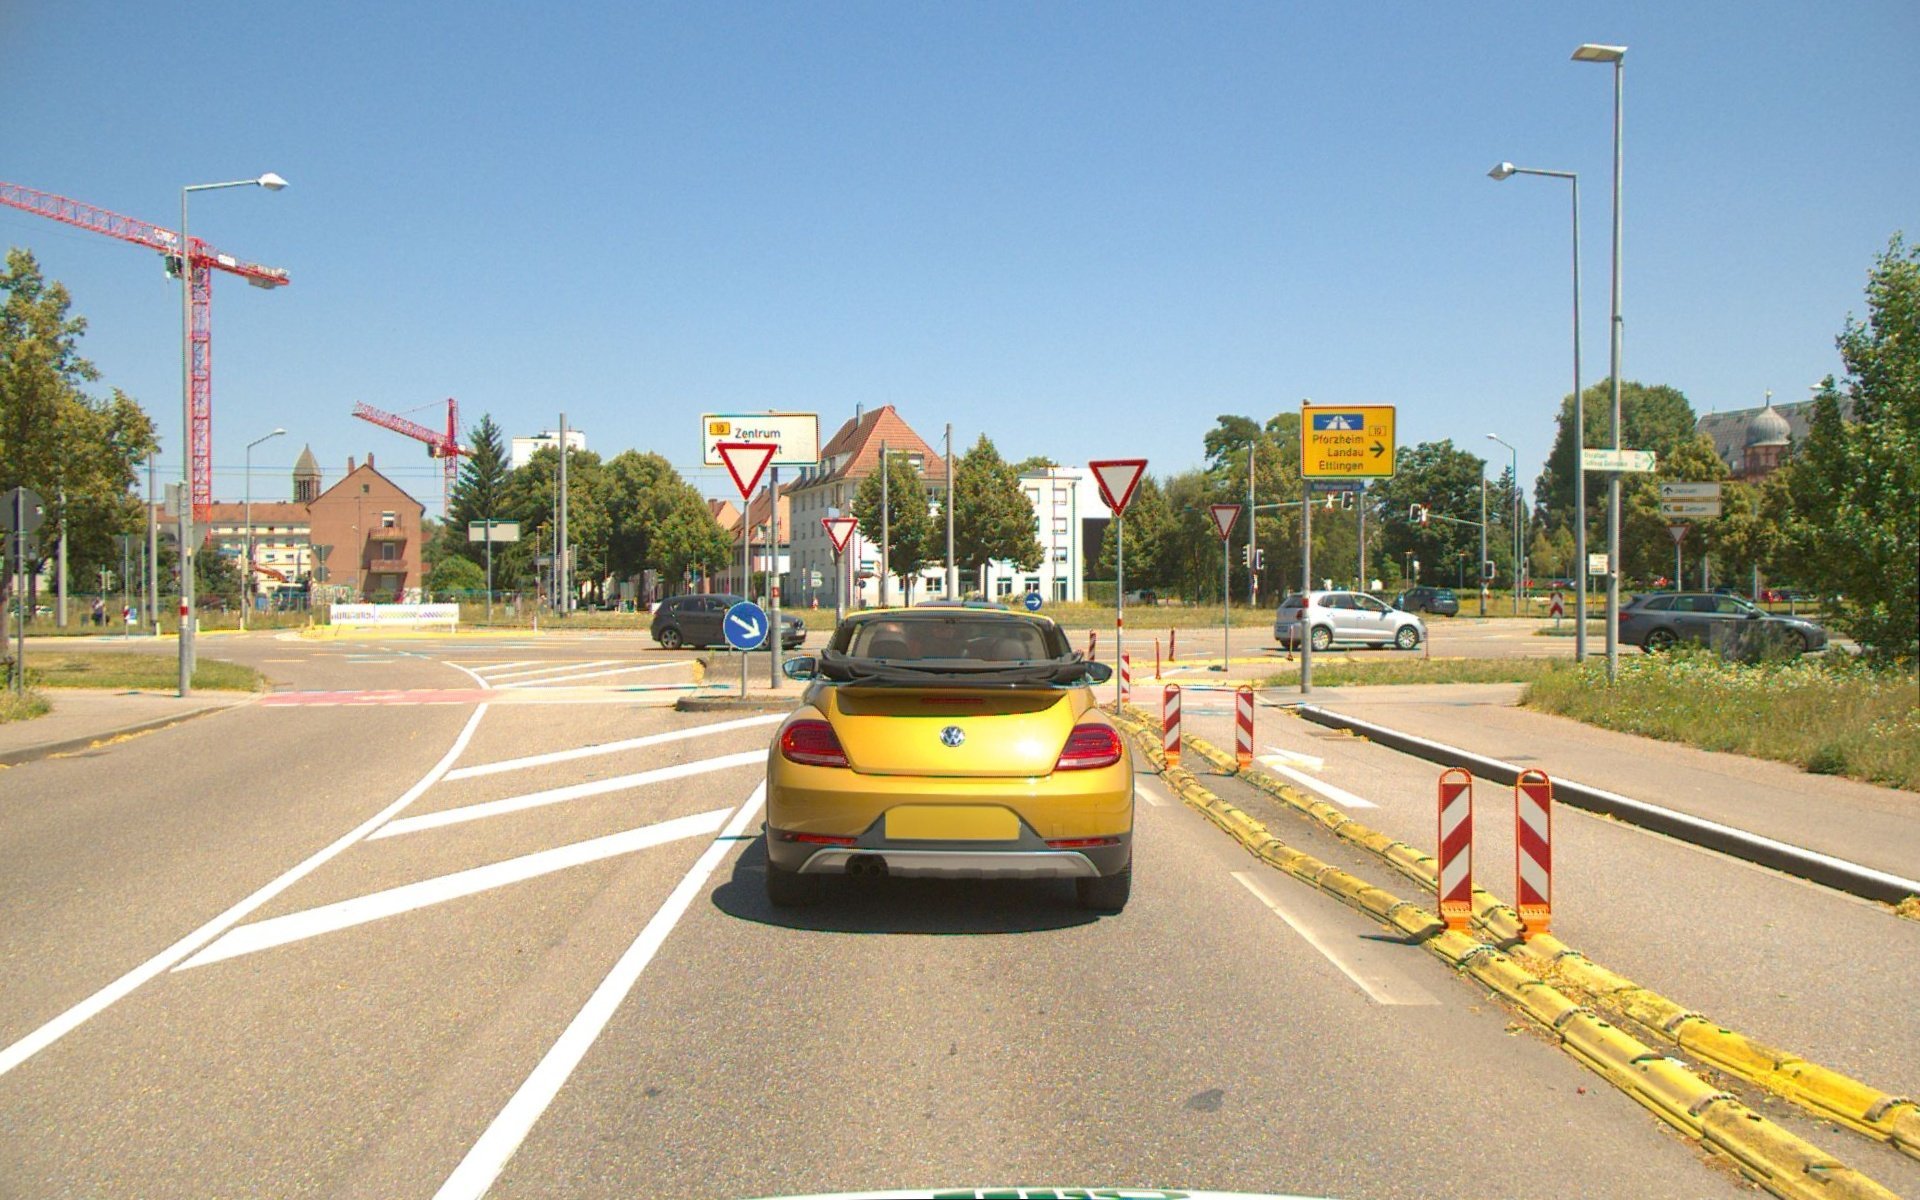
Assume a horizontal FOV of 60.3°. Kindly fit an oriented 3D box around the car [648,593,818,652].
[{"bbox_3d":[-5.833,0.580,42.605,3.981,1.427,1.754,0,1,17],"label":"car"}]

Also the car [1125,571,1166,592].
[{"bbox_3d":[19.000,-1.891,169.100,3.902,2.049,2.001,1,0,14],"label":"car"}]

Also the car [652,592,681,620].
[{"bbox_3d":[-22.341,0.444,125.778,1.959,2.049,3.986,1,0,-13],"label":"car"}]

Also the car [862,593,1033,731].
[{"bbox_3d":[-0.052,0.682,20.543,1.759,1.465,4.003,0,1,5],"label":"car"}]

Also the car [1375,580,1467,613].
[{"bbox_3d":[22.071,-0.176,79.278,1.974,1.490,3.956,1,0,-32],"label":"car"}]

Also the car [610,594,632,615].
[{"bbox_3d":[-33.984,0.425,165.736,1.959,2.049,3.986,1,0,-13],"label":"car"}]

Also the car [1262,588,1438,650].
[{"bbox_3d":[9.704,0.446,41.215,3.922,1.447,1.774,-1,0,-16],"label":"car"}]

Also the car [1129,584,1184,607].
[{"bbox_3d":[15.669,-0.355,132.079,3.918,1.713,1.993,1,0,-13],"label":"car"}]

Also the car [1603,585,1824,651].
[{"bbox_3d":[17.065,0.410,37.699,4.347,1.443,2.001,-1,0,17],"label":"car"}]

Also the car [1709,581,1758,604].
[{"bbox_3d":[73.168,-0.728,156.458,3.923,2.049,1.991,1,0,38],"label":"car"}]

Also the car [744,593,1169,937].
[{"bbox_3d":[-0.037,0.694,8.840,1.788,1.427,3.661,1,0,-1],"label":"car"}]

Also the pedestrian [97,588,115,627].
[{"bbox_3d":[-44.626,0.386,86.452,0.589,2.049,0.594,1,-1,-1],"label":"pedestrian"}]
